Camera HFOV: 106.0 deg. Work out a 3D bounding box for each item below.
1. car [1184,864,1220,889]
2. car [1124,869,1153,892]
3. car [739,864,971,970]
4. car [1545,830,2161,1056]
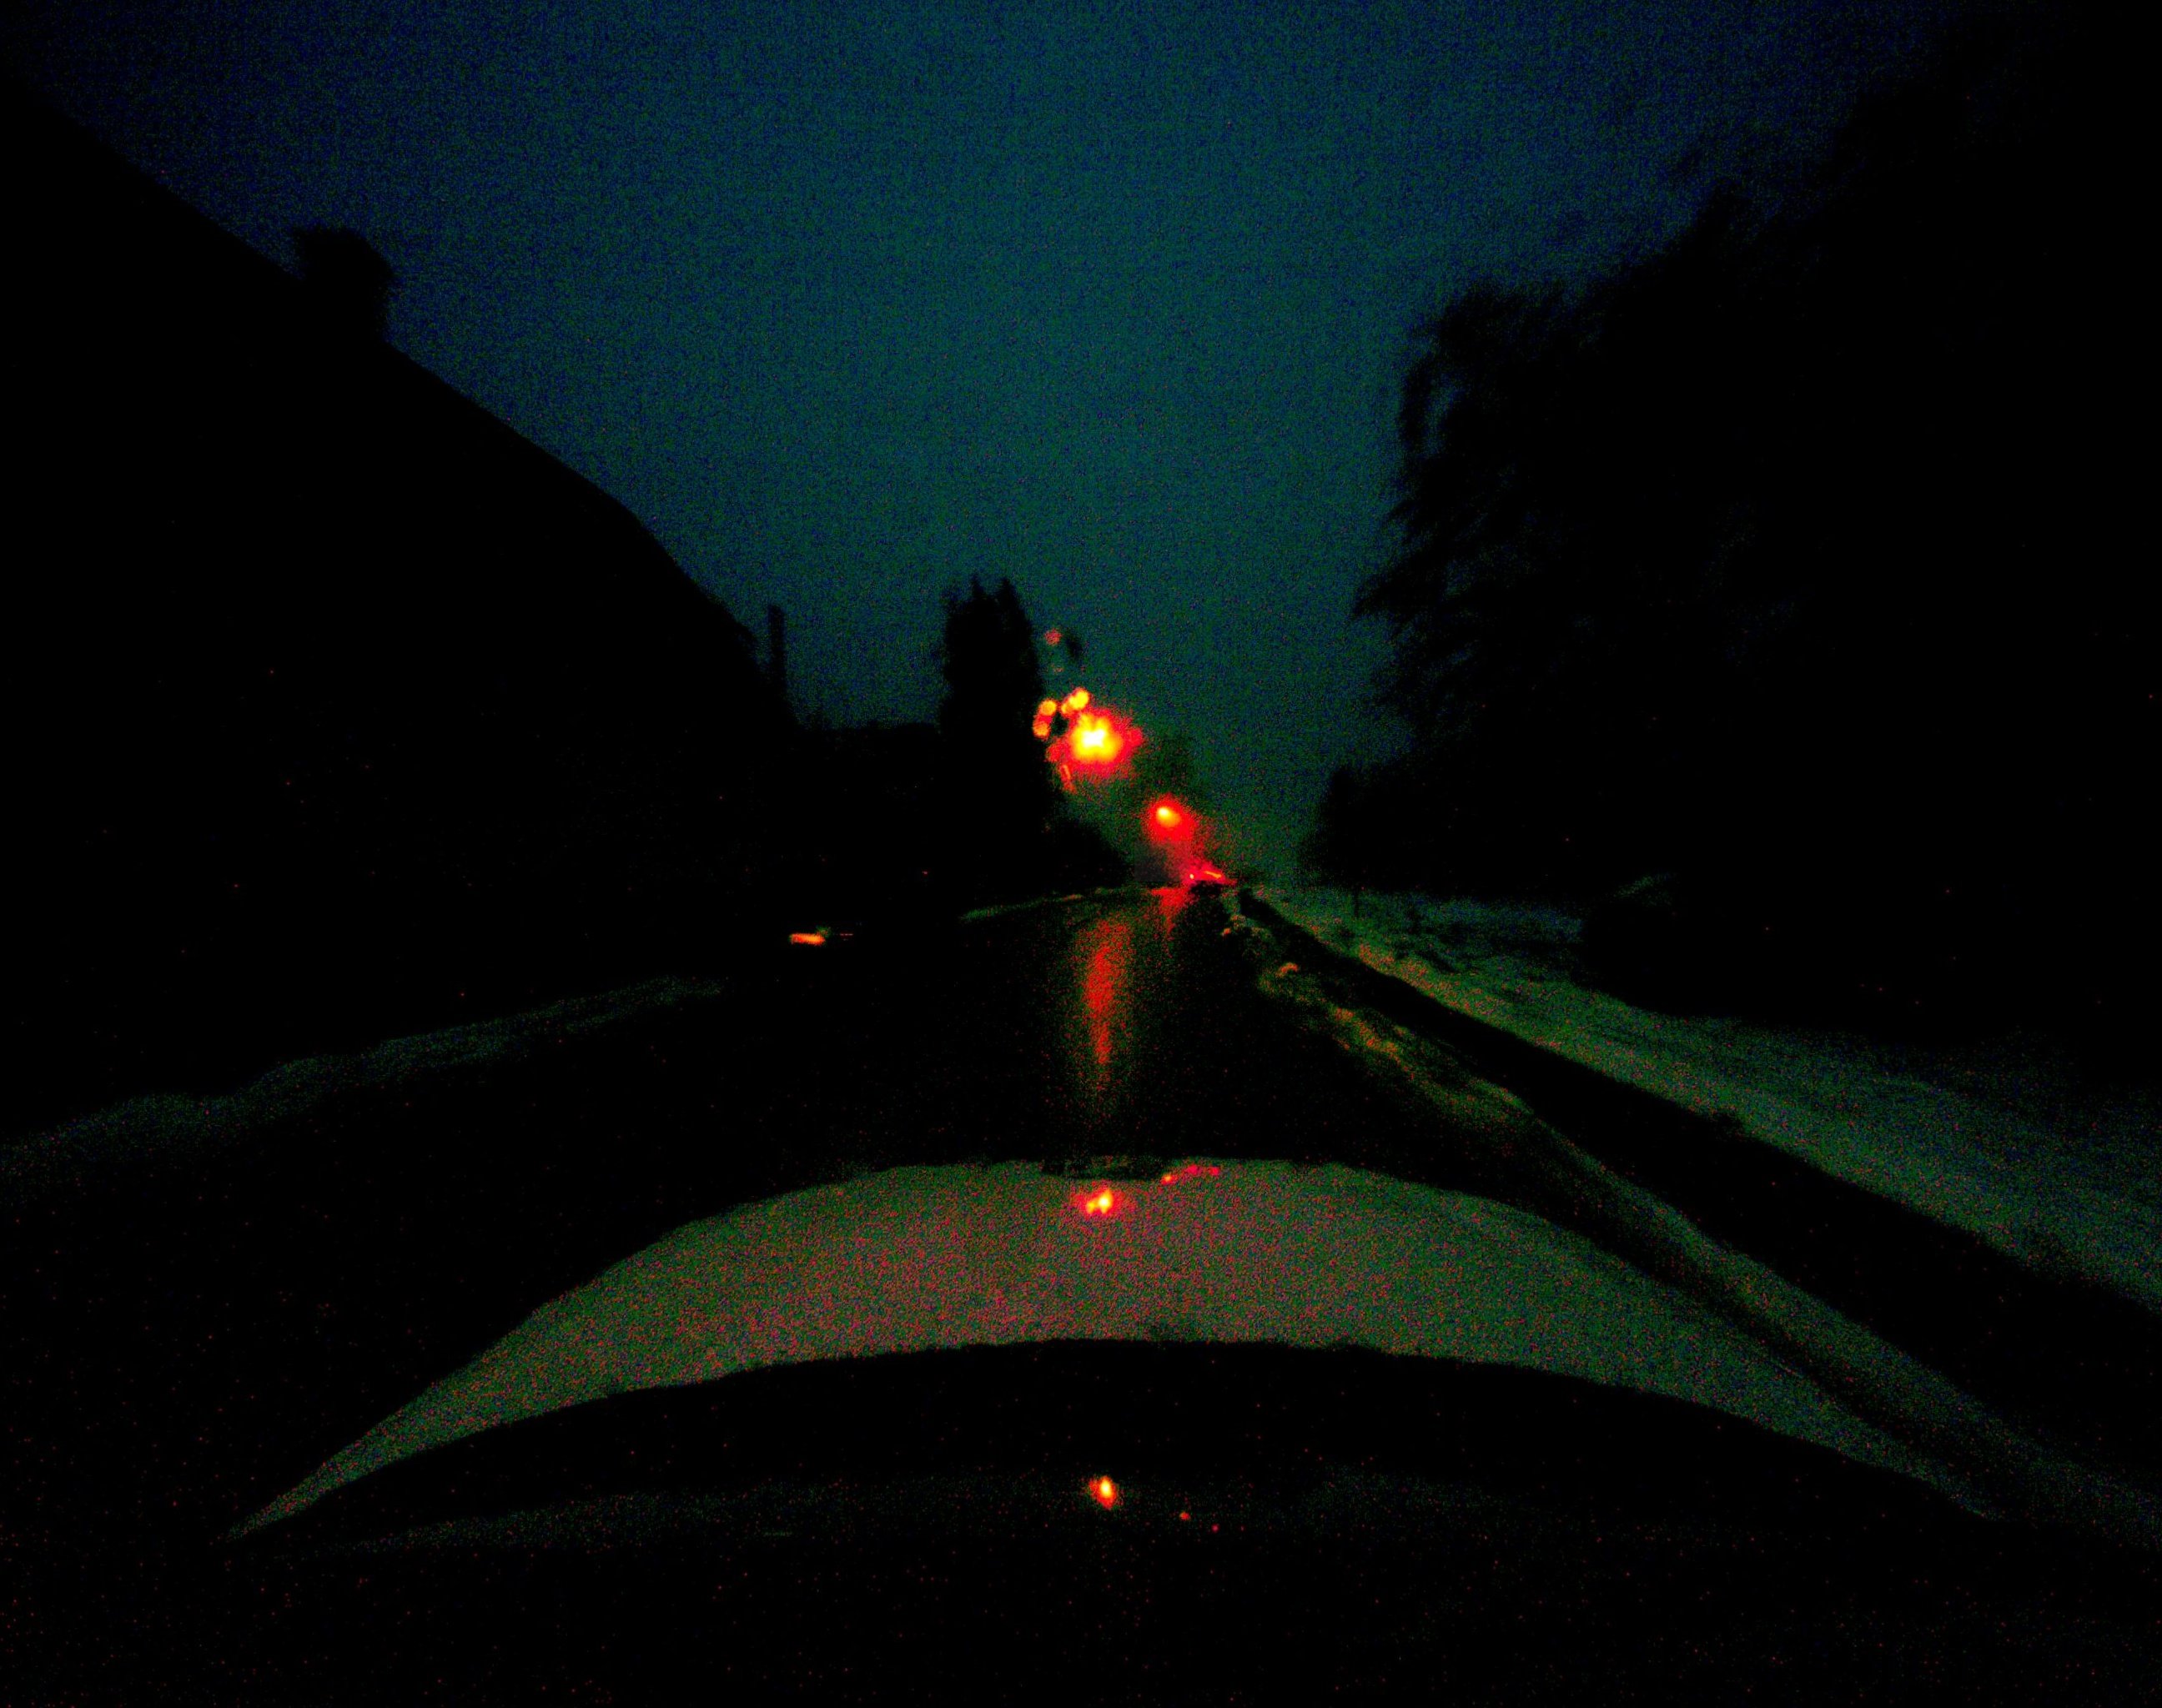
[{"bbox_3d":[7.416,1.381,49.573,1.981,1.420,4.011,-1,-2,10],"label":"car"},{"bbox_3d":[4.662,2.180,66.434,1.987,1.566,4.996,-4,-4,0],"label":"car"},{"bbox_3d":[-3.502,0.896,13.924,1.867,1.426,5.402,0,0,7],"label":"car"},{"bbox_3d":[6.623,0.646,6.685,4.426,1.382,2.040,3,0,7],"label":"car"}]
